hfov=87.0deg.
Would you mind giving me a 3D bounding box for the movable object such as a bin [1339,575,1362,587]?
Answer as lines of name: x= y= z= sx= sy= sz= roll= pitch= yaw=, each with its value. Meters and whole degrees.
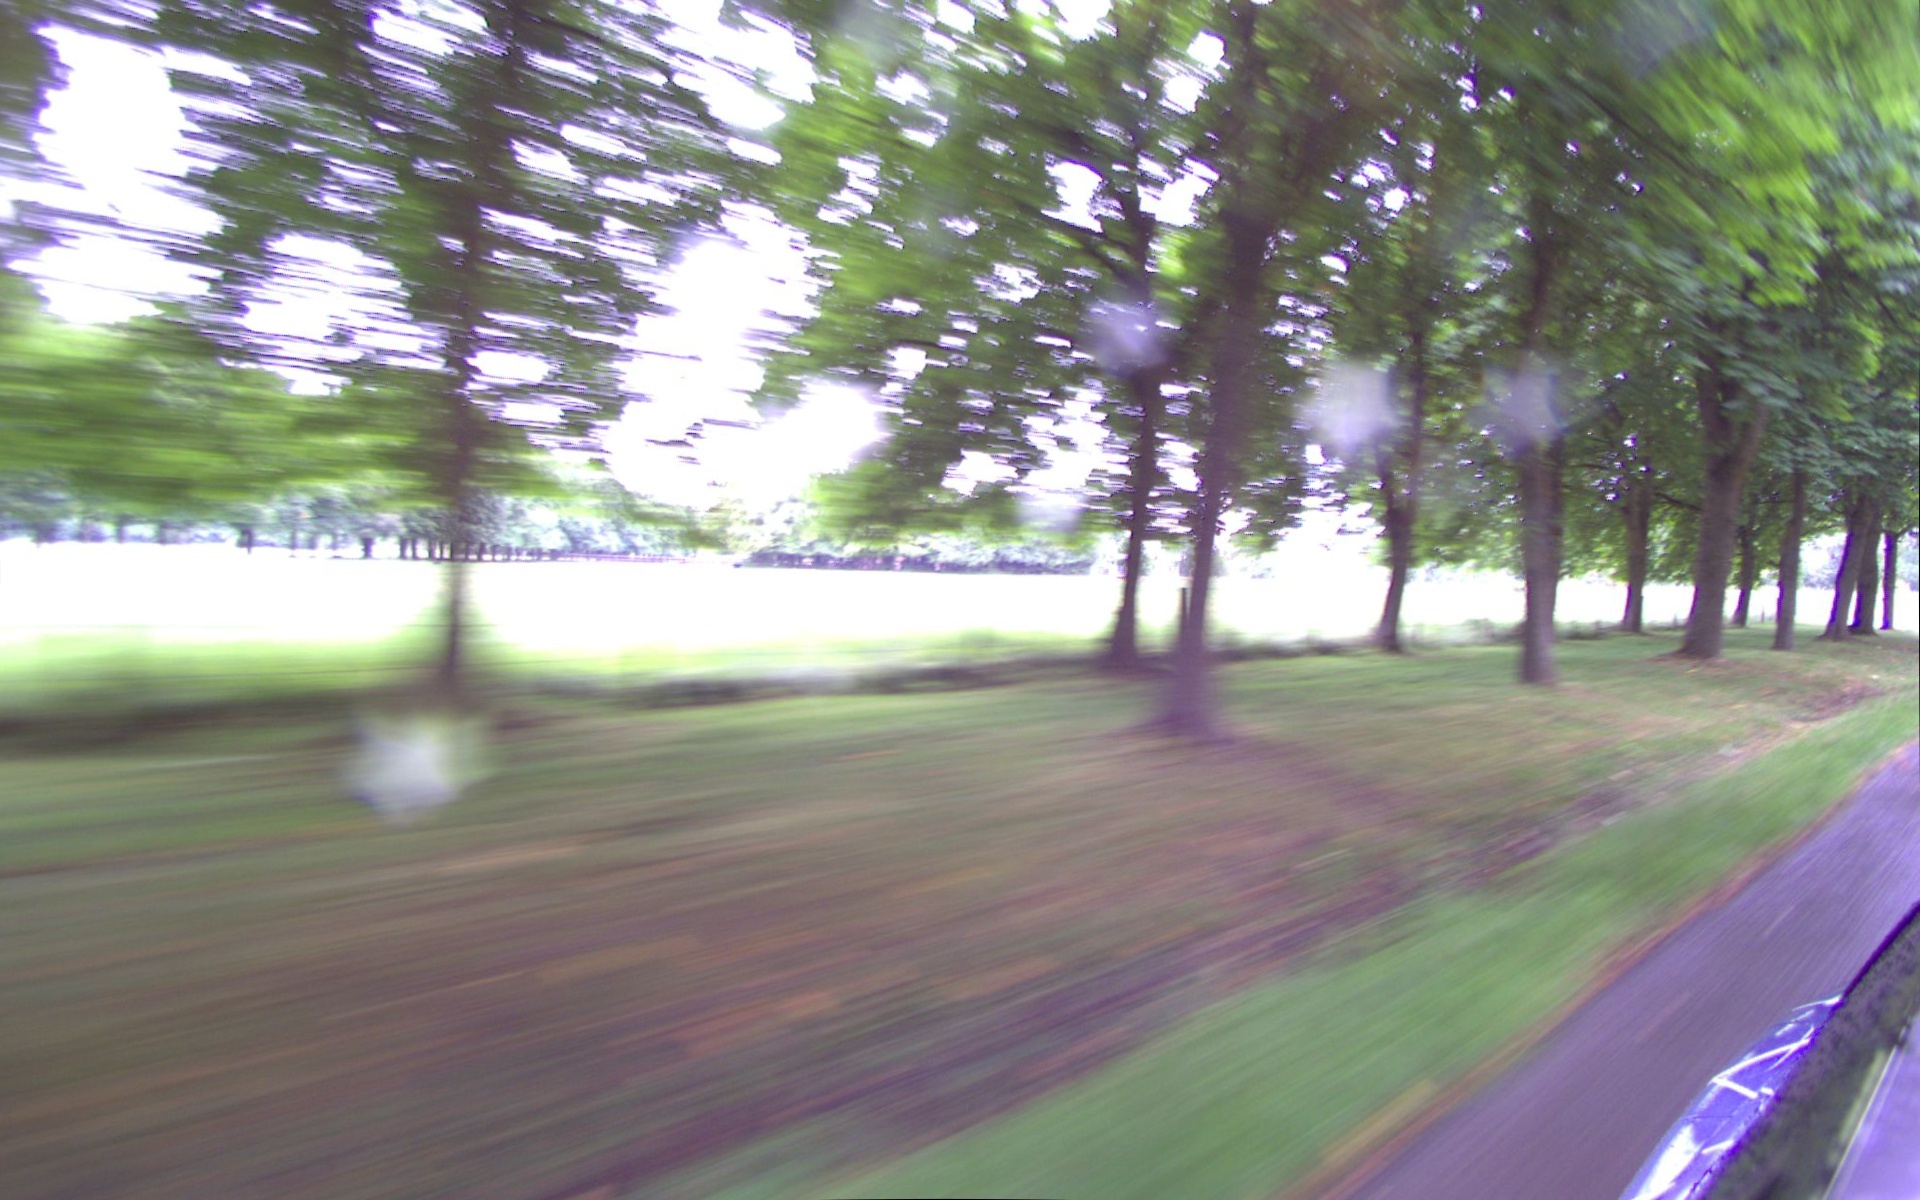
movable object such as a bin: x=57.114 y=-2.740 z=148.106 sx=1.650 sy=1.590 sz=3.545 roll=1 pitch=2 yaw=-8
